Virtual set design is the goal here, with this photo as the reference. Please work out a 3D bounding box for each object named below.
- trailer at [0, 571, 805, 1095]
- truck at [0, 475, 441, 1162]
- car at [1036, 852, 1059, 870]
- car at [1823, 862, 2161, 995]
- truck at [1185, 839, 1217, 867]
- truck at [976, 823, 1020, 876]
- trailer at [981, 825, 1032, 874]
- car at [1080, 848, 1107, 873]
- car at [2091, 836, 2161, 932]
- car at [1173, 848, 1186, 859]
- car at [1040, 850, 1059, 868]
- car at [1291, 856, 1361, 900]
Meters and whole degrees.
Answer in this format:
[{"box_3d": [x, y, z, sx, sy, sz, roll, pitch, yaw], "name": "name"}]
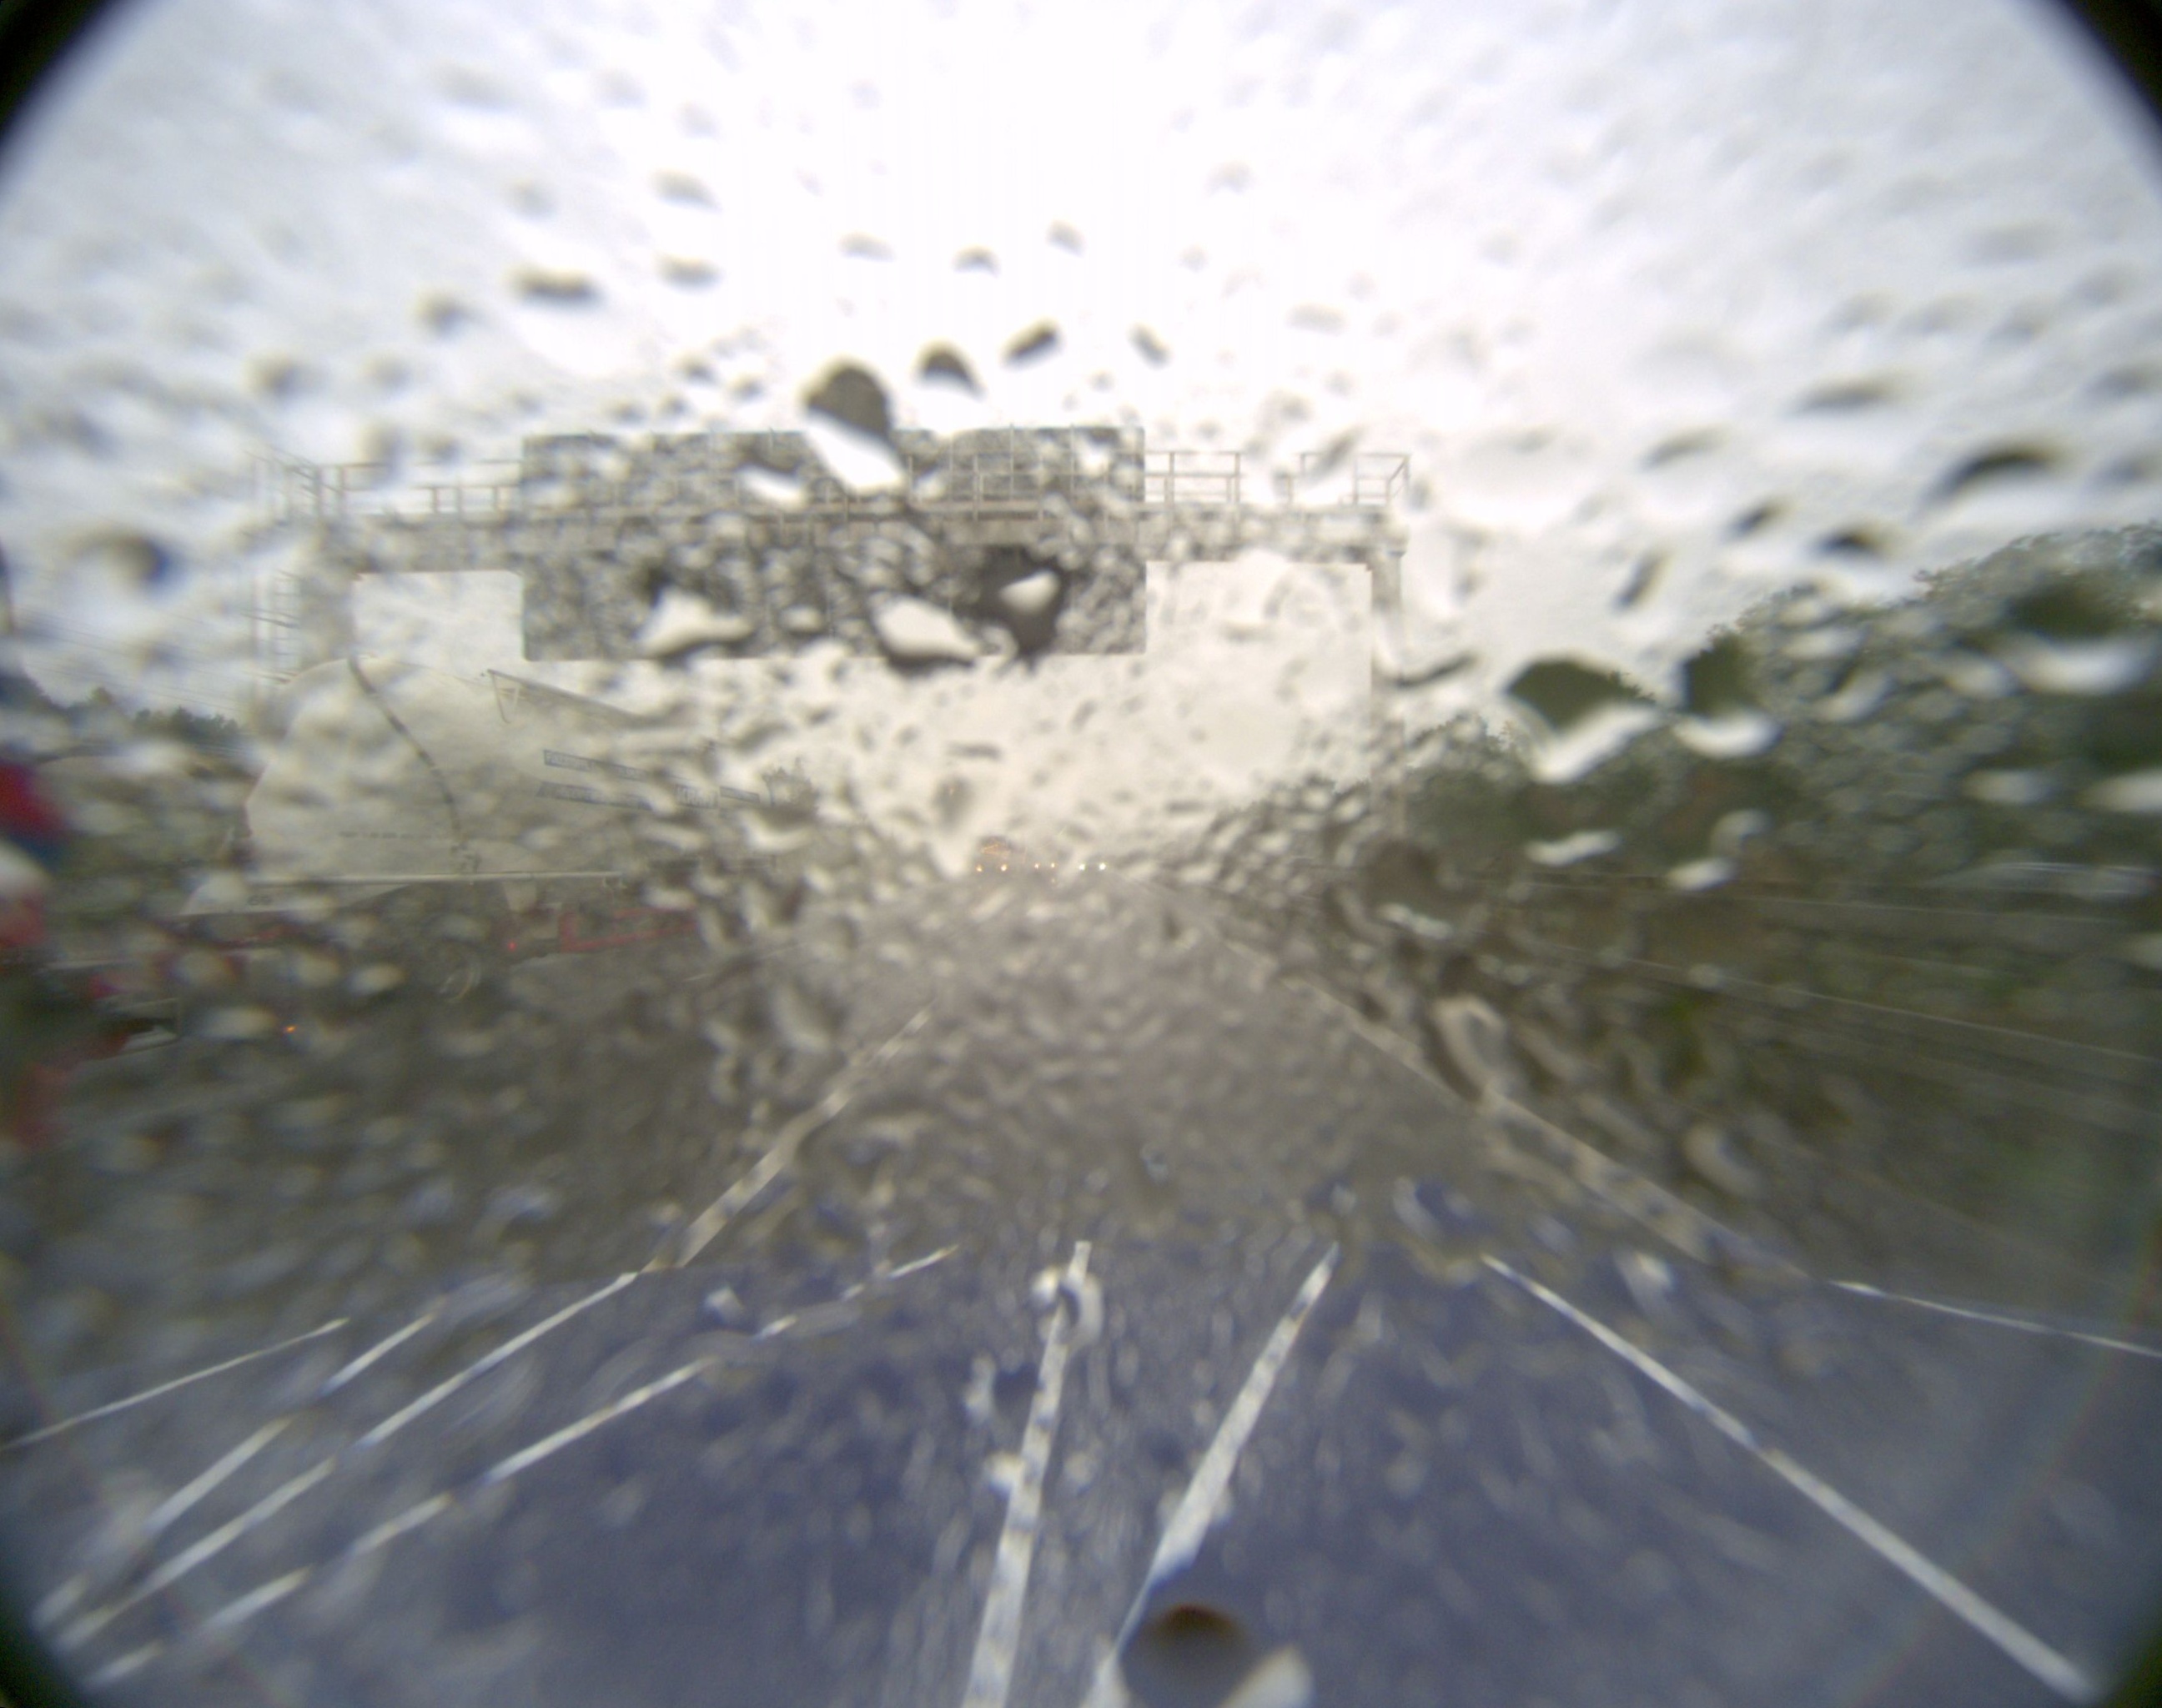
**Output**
[{"box_3d": [-7.455, -0.086, 11.233, 2.503, 3.859, 11.067, -2, -1, 0], "name": "trailer"}, {"box_3d": [-7.467, -0.175, 4.738, 2.503, 3.960, 5.076, -2, 0, 0], "name": "truck"}, {"box_3d": [-2.856, 0.600, 65.153, 1.663, 1.491, 3.837, -2, -1, 1], "name": "car"}, {"box_3d": [15.098, 0.997, 12.026, 1.998, 1.652, 4.782, -2, -1, 0], "name": "car"}, {"box_3d": [21.549, -0.011, 137.385, 2.973, 4.647, 17.100, -2, -1, 0], "name": "truck"}, {"box_3d": [-6.429, -0.320, 59.656, 2.457, 3.866, 6.200, -2, 0, 1], "name": "truck"}, {"box_3d": [-6.331, -0.254, 67.096, 2.486, 3.743, 16.546, -2, -1, 1], "name": "trailer"}, {"box_3d": [0.899, 0.503, 54.971, 1.845, 1.670, 4.000, -2, -1, 1], "name": "car"}, {"box_3d": [19.674, 0.473, 11.644, 1.998, 1.652, 4.782, -2, -1, 0], "name": "car"}, {"box_3d": [17.426, -0.024, 134.416, 1.615, 1.870, 4.000, -2, -1, 0], "name": "car"}, {"box_3d": [-2.917, 0.460, 70.768, 1.517, 1.606, 3.186, -2, 0, 0], "name": "car"}, {"box_3d": [12.229, 1.156, 38.239, 1.803, 2.001, 5.027, -2, -1, 0], "name": "car"}]
